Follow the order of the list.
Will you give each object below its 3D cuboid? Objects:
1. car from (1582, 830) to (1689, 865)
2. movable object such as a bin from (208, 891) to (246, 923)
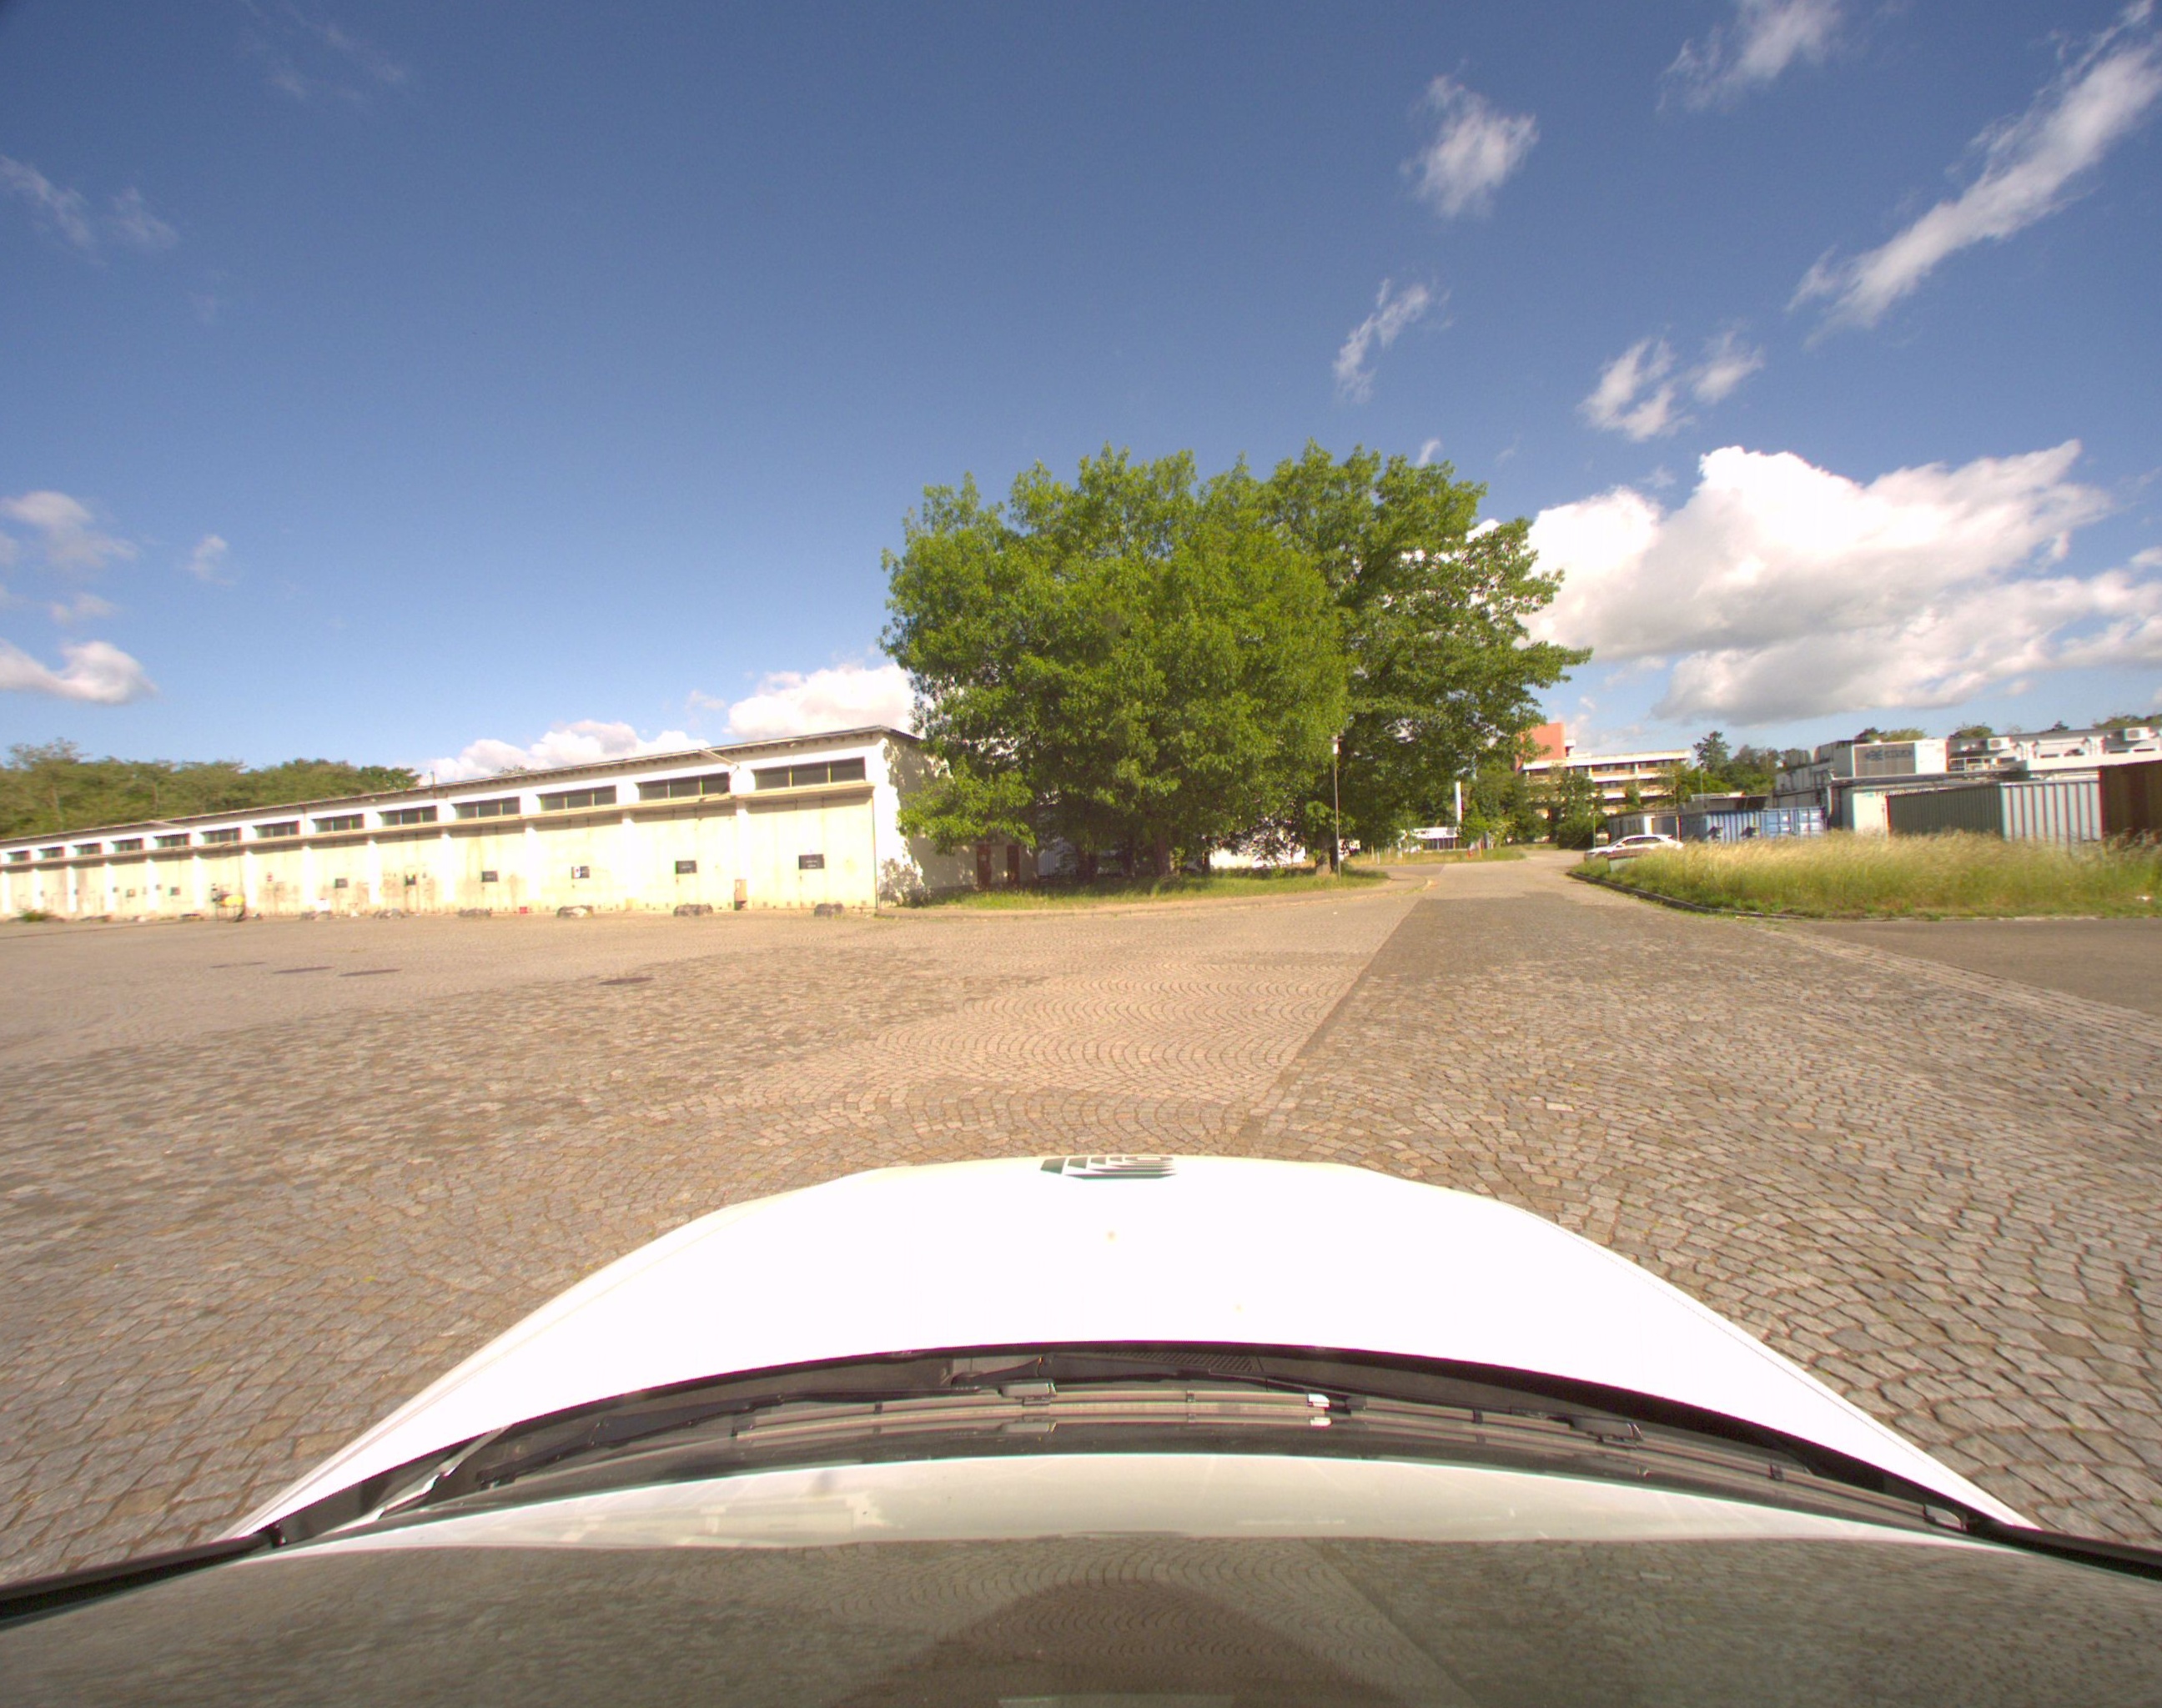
[{"bbox_3d":[29.976,-0.360,44.187,4.464,1.647,2.011,-3,0,23],"label":"car"},{"bbox_3d":[-39.637,2.473,37.811,1.088,1.401,0.883,-3,-1,24],"label":"movable object such as a bin"}]
